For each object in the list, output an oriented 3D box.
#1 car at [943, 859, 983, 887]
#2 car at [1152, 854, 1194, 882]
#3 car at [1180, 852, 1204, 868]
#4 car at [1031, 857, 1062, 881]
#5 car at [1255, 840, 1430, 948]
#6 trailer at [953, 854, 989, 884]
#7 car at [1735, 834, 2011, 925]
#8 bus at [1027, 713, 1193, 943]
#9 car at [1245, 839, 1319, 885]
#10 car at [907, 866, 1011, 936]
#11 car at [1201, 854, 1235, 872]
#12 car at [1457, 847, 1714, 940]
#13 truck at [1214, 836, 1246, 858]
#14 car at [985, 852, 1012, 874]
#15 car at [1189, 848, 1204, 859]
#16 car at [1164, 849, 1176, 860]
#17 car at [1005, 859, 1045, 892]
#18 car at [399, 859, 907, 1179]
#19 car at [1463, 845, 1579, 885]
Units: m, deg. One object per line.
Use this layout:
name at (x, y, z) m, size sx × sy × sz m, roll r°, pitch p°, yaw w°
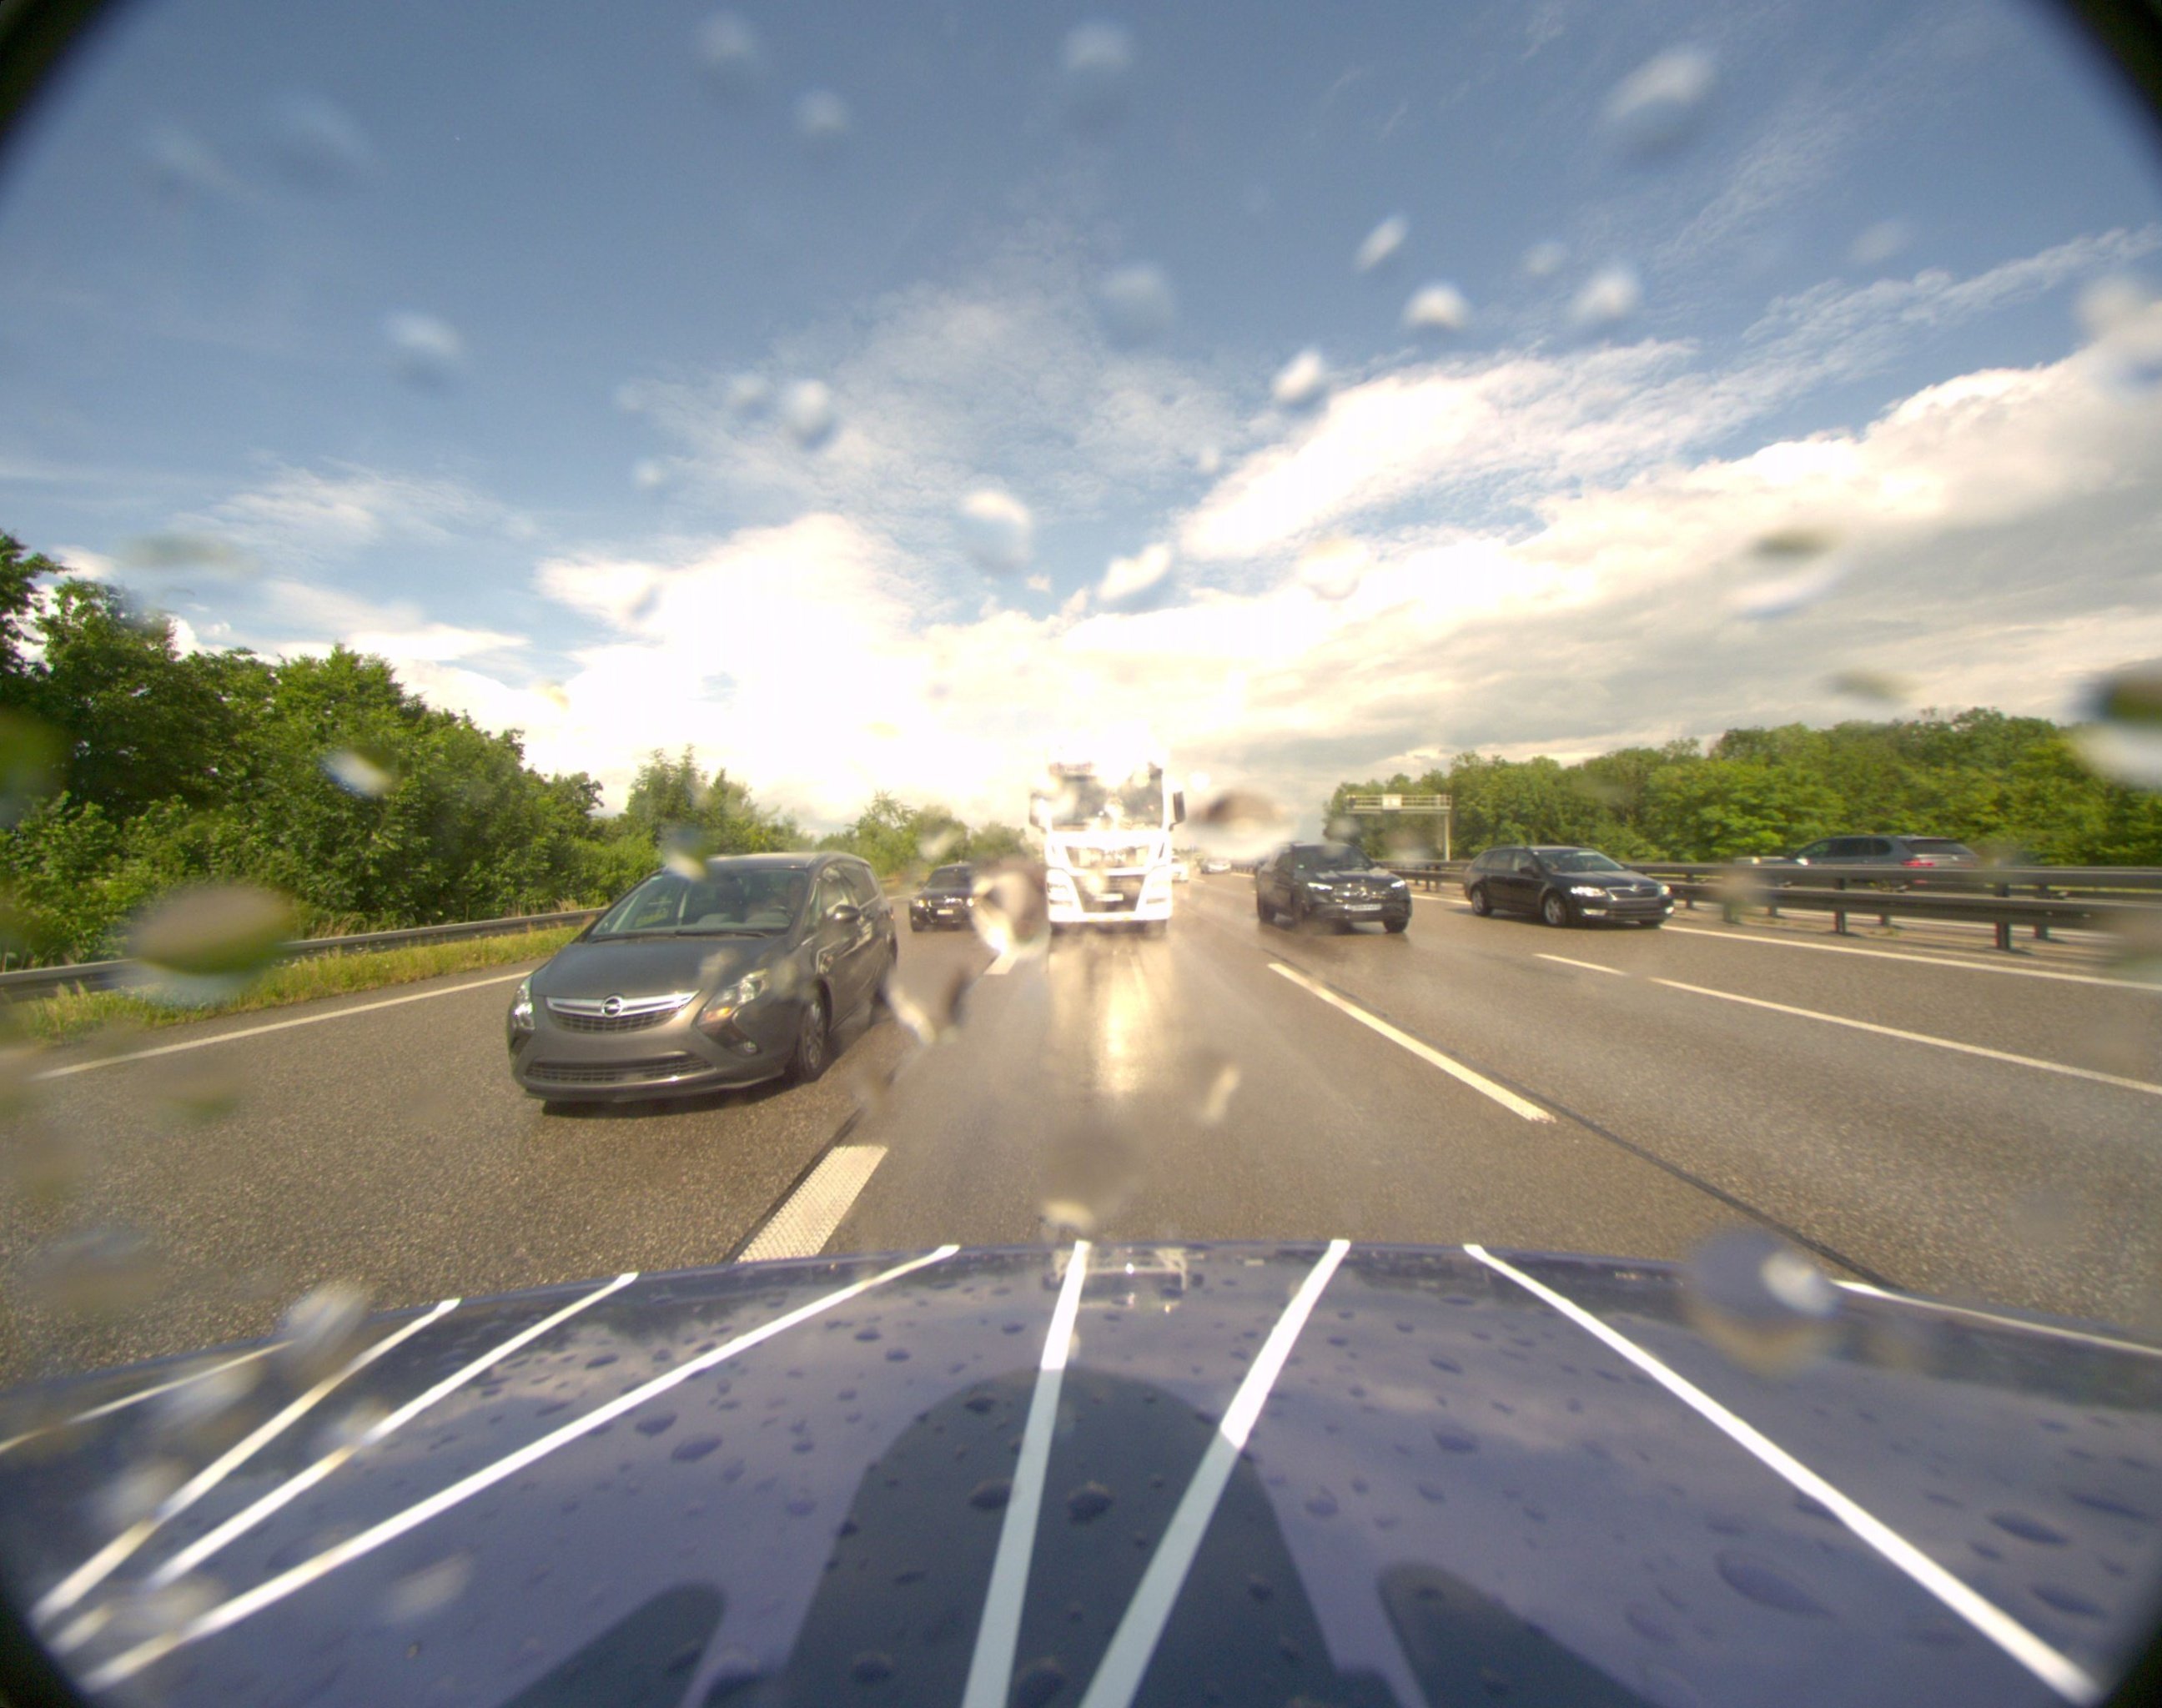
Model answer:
car at (-6.909, 1.080, 44.835) m, size 1.748 × 1.422 × 4.404 m, roll -2°, pitch 0°, yaw -1°
car at (4.957, 0.723, 41.394) m, size 1.809 × 1.389 × 4.240 m, roll -1°, pitch 0°, yaw 1°
car at (10.289, 0.508, 70.704) m, size 1.618 × 1.412 × 4.000 m, roll -2°, pitch 0°, yaw 1°
car at (-2.199, 0.966, 49.543) m, size 1.858 × 1.433 × 3.999 m, roll -2°, pitch 0°, yaw -1°
car at (4.723, 0.635, 14.494) m, size 1.881 × 1.669 × 4.627 m, roll -2°, pitch 0°, yaw 2°
trailer at (-7.027, 0.915, 49.015) m, size 1.811 × 1.736 × 3.966 m, roll -3°, pitch 0°, yaw -2°
car at (20.163, 0.550, 19.779) m, size 1.856 × 2.002 × 5.077 m, roll -2°, pitch 1°, yaw 0°
bus at (0.590, -0.477, 18.851) m, size 2.904 × 4.104 × 9.845 m, roll -2°, pitch 0°, yaw 1°
car at (9.212, 0.333, 35.249) m, size 1.998 × 1.906 × 5.235 m, roll -2°, pitch 0°, yaw 0°
car at (-2.708, 1.015, 17.735) m, size 1.722 × 1.346 × 3.884 m, roll -2°, pitch 0°, yaw 1°
car at (9.853, 0.634, 54.866) m, size 1.857 × 1.182 × 3.583 m, roll -2°, pitch 0°, yaw 2°
car at (9.120, 0.617, 14.292) m, size 1.925 × 1.416 × 4.372 m, roll -2°, pitch 0°, yaw 0°
truck at (22.284, -1.061, 114.168) m, size 2.923 × 2.970 × 8.721 m, roll -2°, pitch 1°, yaw 0°
car at (-6.074, 0.631, 56.151) m, size 1.616 × 1.480 × 3.480 m, roll -2°, pitch 0°, yaw -1°
car at (18.800, -0.070, 123.839) m, size 1.770 × 1.633 × 4.246 m, roll -2°, pitch 0°, yaw -2°
car at (21.413, 0.088, 182.131) m, size 2.119 × 2.382 × 6.102 m, roll -2°, pitch 0°, yaw 0°
car at (-2.581, 0.970, 35.462) m, size 1.744 × 1.357 × 3.999 m, roll -2°, pitch 0°, yaw -3°
car at (-2.841, 0.905, 6.493) m, size 1.859 × 1.622 × 4.734 m, roll -2°, pitch 0°, yaw -4°
car at (16.671, 0.384, 29.057) m, size 1.872 × 1.346 × 4.493 m, roll -2°, pitch 0°, yaw 1°
